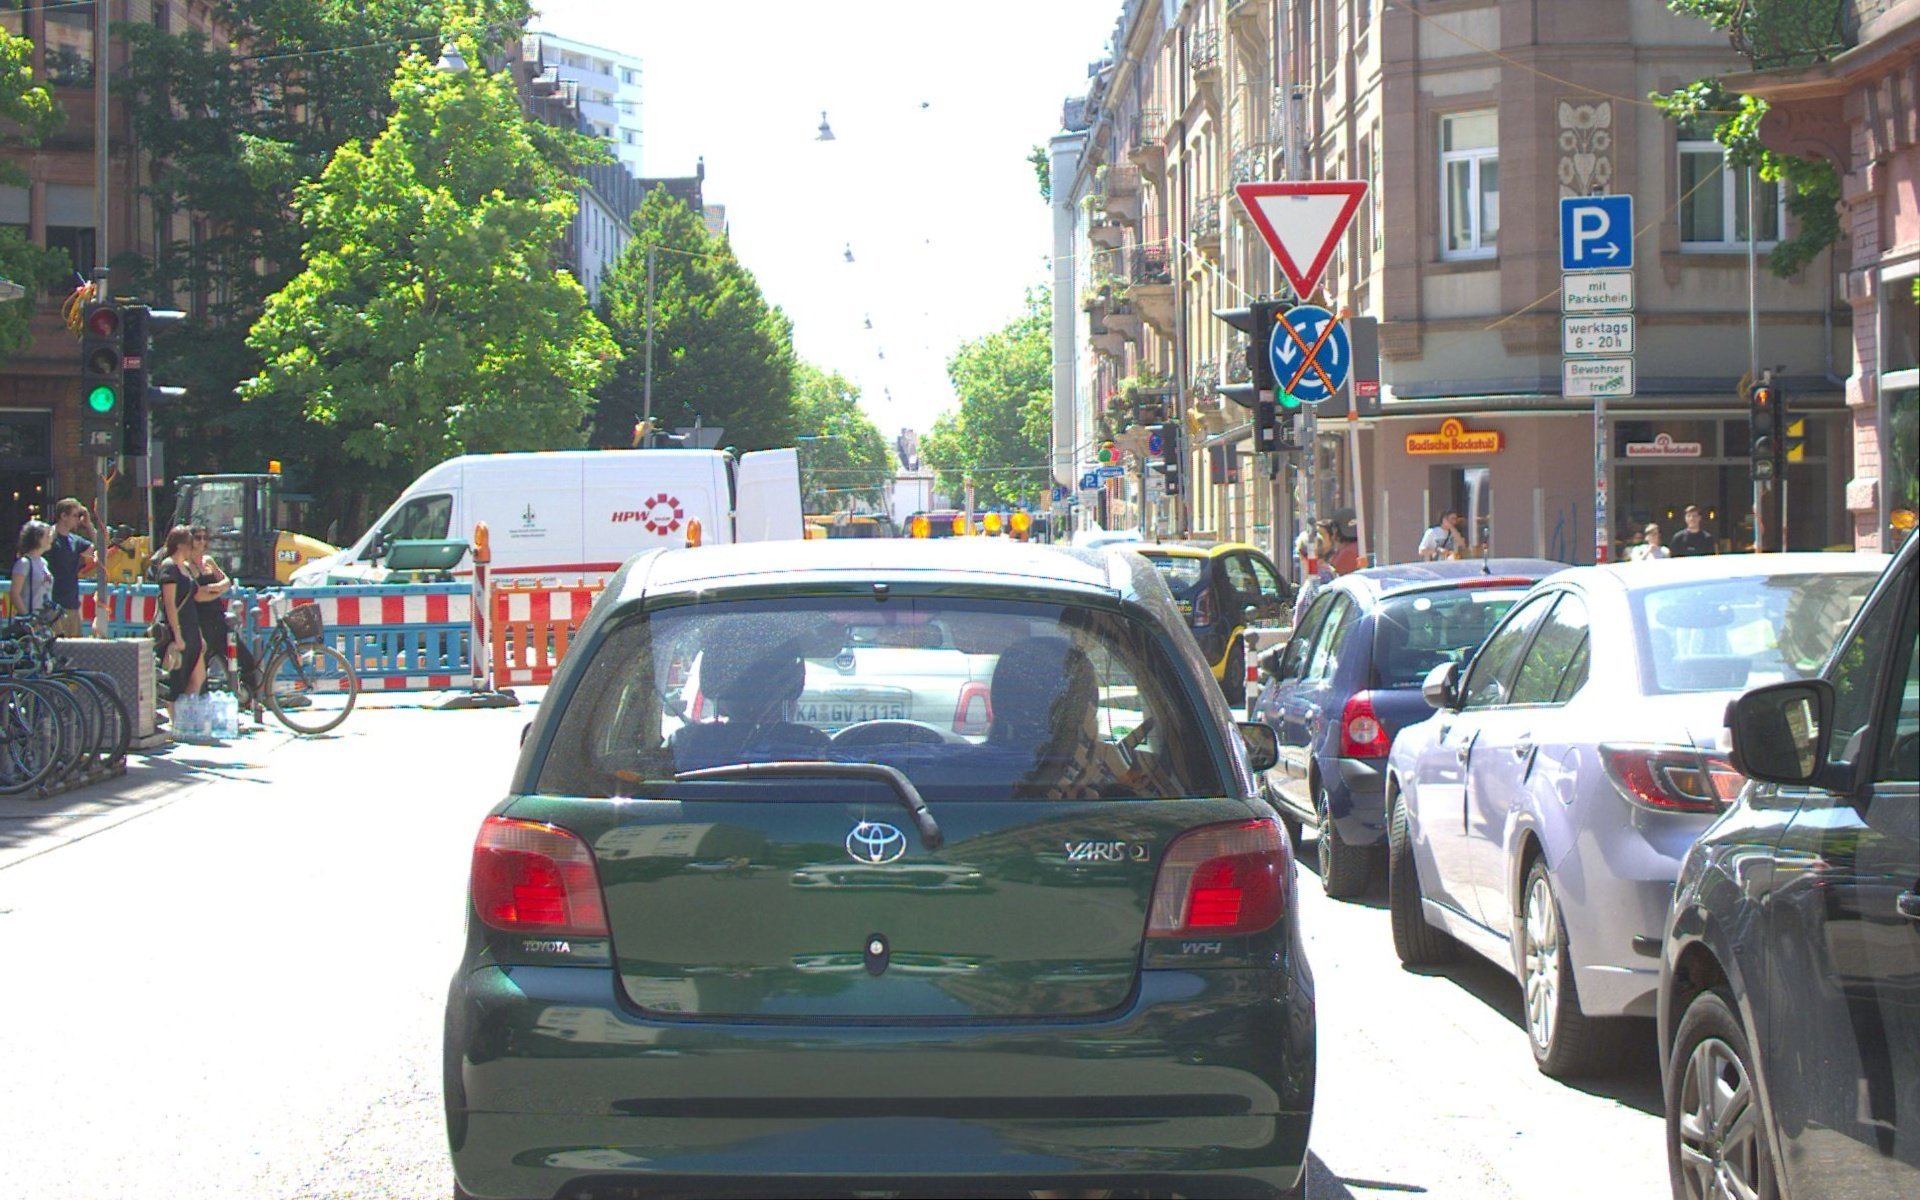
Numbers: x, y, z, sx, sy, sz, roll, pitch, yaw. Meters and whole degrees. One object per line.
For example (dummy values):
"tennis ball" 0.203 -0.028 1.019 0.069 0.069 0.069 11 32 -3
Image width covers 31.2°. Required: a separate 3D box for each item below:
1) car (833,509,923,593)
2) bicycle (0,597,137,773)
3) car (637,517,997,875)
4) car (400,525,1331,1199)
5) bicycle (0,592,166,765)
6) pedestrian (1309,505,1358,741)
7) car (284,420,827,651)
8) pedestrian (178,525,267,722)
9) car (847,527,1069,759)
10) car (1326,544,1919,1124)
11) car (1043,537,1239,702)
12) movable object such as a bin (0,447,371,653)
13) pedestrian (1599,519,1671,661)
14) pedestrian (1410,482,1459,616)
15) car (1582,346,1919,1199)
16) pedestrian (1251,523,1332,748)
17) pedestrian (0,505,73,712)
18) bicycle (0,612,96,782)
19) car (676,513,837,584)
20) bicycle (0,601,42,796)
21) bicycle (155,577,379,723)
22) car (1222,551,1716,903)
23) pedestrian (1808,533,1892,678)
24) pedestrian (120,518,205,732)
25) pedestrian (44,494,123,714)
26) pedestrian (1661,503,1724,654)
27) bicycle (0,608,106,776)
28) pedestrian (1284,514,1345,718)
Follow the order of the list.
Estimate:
"car" -1.724 -1.055 73.595 1.754 1.639 4.378 -3 1 0
"bicycle" -6.201 0.543 22.497 1.519 1.113 0.335 2 1 -4
"car" -0.636 0.372 16.260 1.522 1.516 3.264 0 1 -1
"car" -0.093 0.594 7.600 1.614 1.480 3.241 1 1 3
"bicycle" -6.314 0.514 23.155 1.797 1.119 0.578 2 1 -6
"pedestrian" 2.663 0.161 24.531 0.332 1.670 0.401 0 1 5
"car" -5.112 -0.824 44.226 6.622 2.742 2.380 1 1 1
"pedestrian" -5.957 0.182 27.761 0.496 1.560 0.459 2 2 26
"car" 0.019 0.264 25.377 1.522 1.587 3.264 0 1 1
"car" 2.372 0.555 10.975 1.725 1.427 4.486 -1 1 -2
"car" 1.755 0.139 32.444 1.627 1.427 3.659 -1 1 6
"movable object such as a bin" -10.521 -0.682 46.912 4.543 2.650 1.955 1 1 2
"pedestrian" 8.065 -0.128 41.090 0.701 1.639 0.423 -3 4 -8
"pedestrian" 6.179 -0.660 44.795 0.478 1.727 0.871 0 0 18
"car" 2.358 0.477 5.265 1.824 1.761 4.338 -1 1 -2
"pedestrian" 2.309 0.244 23.966 0.493 1.538 0.436 -2 1 6
"pedestrian" -7.412 0.062 27.464 0.509 1.627 0.600 0 1 -3
"bicycle" -6.203 0.588 21.471 1.493 1.027 0.398 2 1 -4
"car" -6.291 -1.595 106.252 4.557 2.180 2.000 -1 1 -27
"bicycle" -6.355 0.562 20.523 1.583 1.135 0.527 2 1 -4
"bicycle" -5.649 0.393 28.018 1.806 1.115 0.467 2 1 21
"car" 2.279 0.507 16.274 1.627 1.427 3.661 -1 1 -2
"pedestrian" 10.034 0.056 38.769 0.801 1.618 0.643 0 1 3
"pedestrian" -6.138 0.186 26.490 0.541 1.627 0.511 0 1 -3
"pedestrian" -7.310 0.027 28.679 0.509 1.813 0.600 0 1 -3
"pedestrian" 8.781 -0.265 41.239 0.575 1.762 0.472 -3 4 -8
"bicycle" -6.220 0.571 21.908 1.447 1.032 0.335 2 1 -4
"pedestrian" 2.725 0.115 26.455 0.459 1.555 0.479 0 1 6
